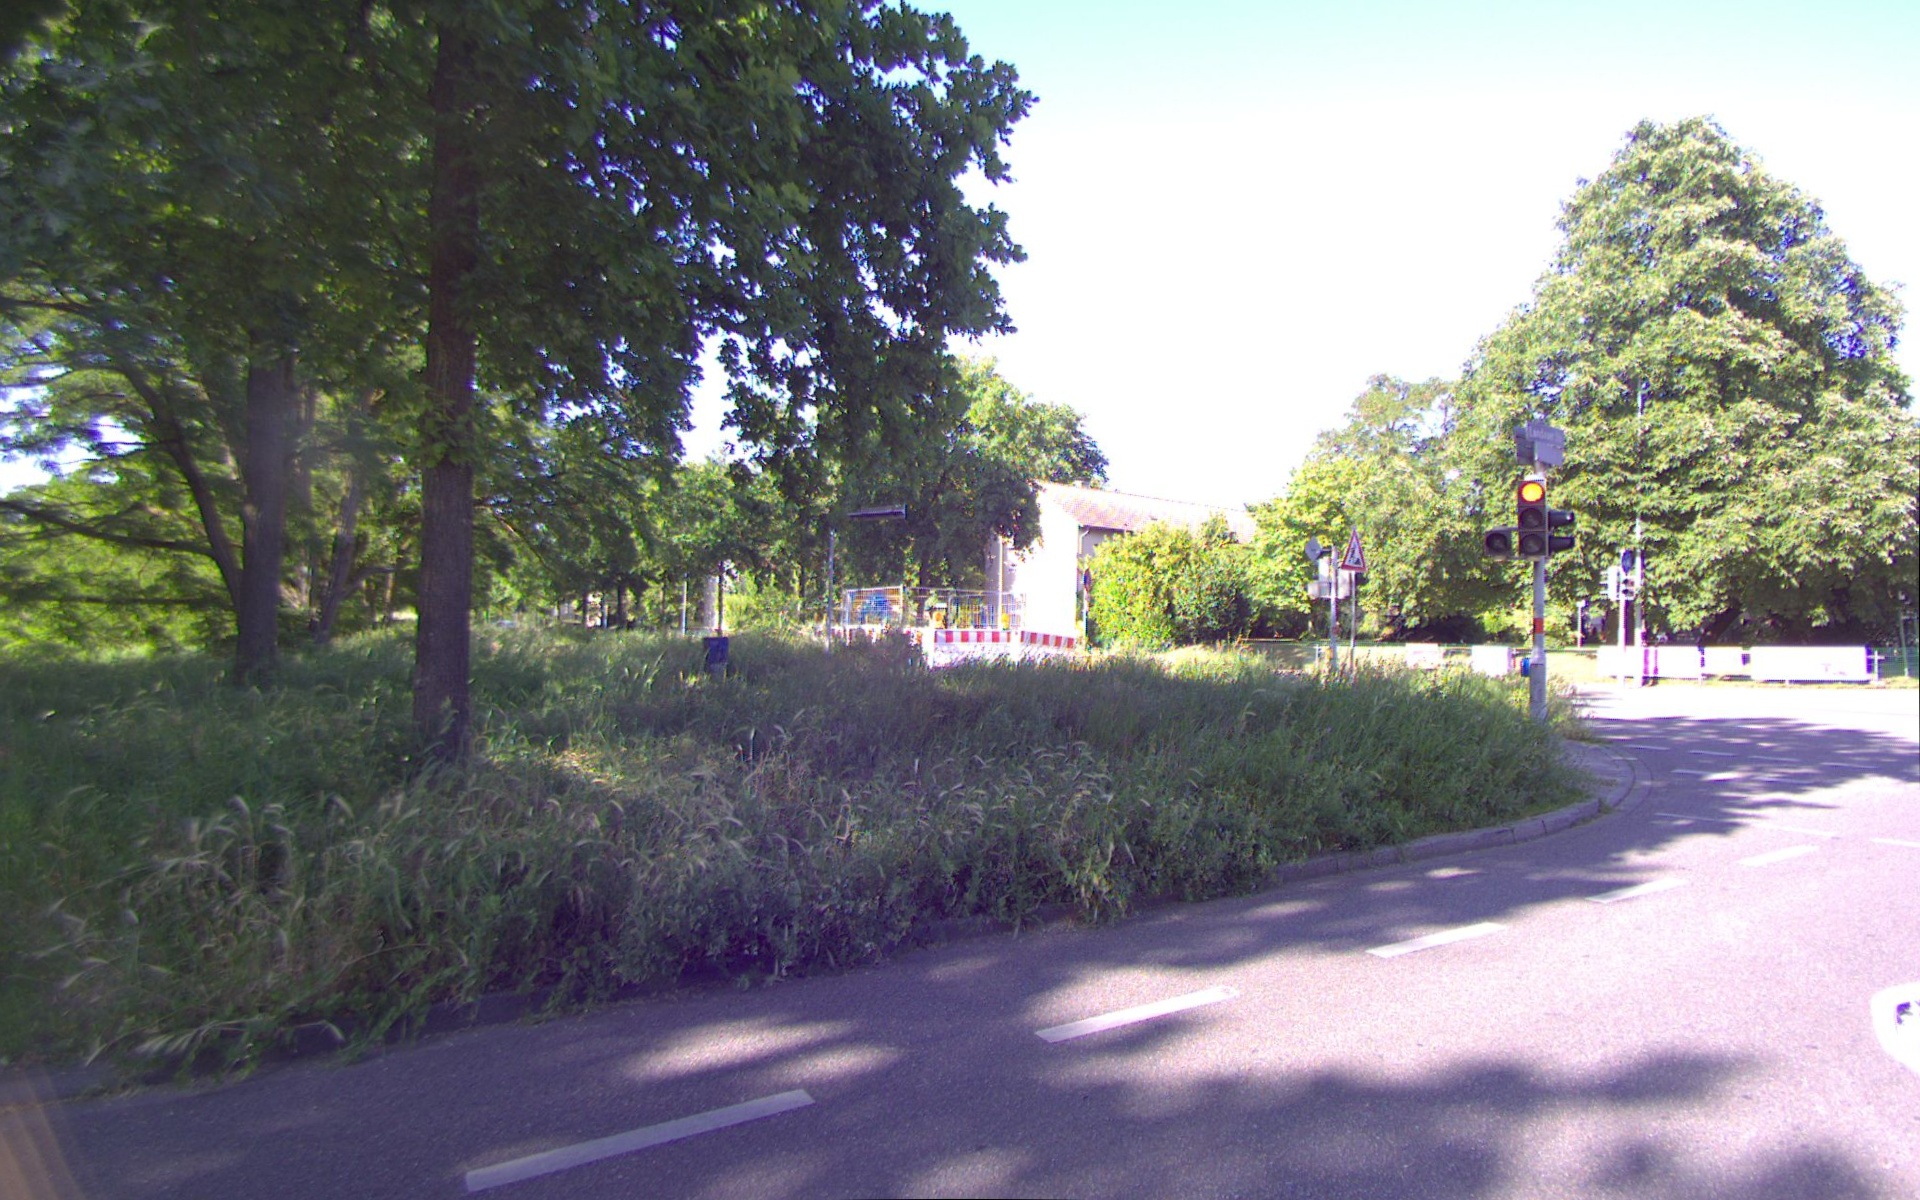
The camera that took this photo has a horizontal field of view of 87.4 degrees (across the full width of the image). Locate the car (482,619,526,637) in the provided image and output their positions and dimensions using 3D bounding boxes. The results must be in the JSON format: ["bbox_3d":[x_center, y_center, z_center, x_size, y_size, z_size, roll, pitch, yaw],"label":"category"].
[{"bbox_3d":[-47.382,2.870,104.489,3.939,1.673,1.991,2,0,-20],"label":"car"}]
